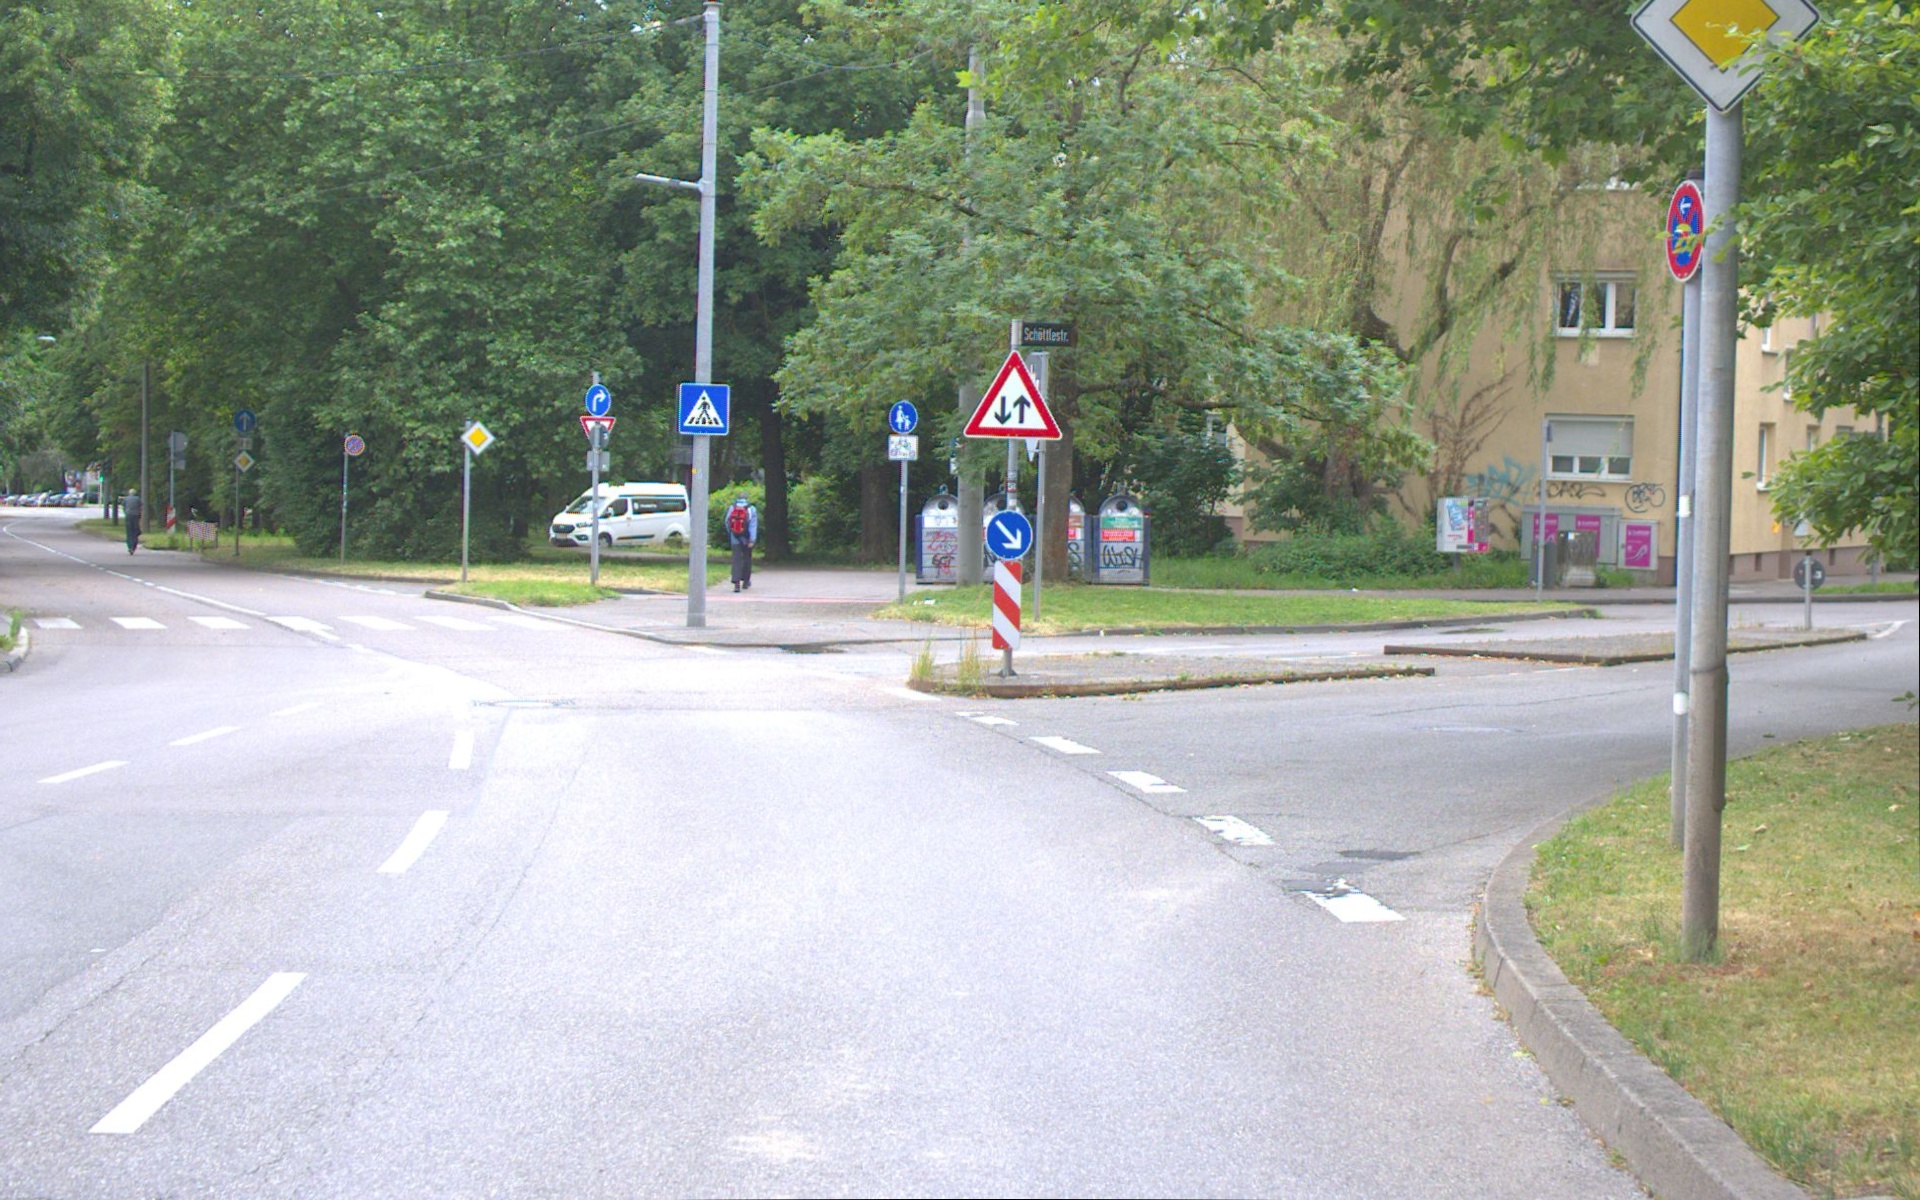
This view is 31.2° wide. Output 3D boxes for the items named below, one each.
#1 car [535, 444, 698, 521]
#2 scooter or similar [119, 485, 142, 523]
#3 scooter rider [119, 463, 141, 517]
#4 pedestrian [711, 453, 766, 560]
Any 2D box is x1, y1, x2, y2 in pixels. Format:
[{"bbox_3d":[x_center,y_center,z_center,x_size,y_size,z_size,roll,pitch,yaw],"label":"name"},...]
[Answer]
[{"bbox_3d":[-11.400,-3.897,114.432,2.136,2.289,5.374,6,4,38],"label":"car"},{"bbox_3d":[-23.768,-2.741,98.514,0.600,1.051,0.873,0,4,-15],"label":"scooter or similar"},{"bbox_3d":[-23.805,-3.160,98.633,0.600,1.547,0.566,0,4,-15],"label":"scooter rider"},{"bbox_3d":[-4.068,-1.722,63.086,0.923,1.865,1.019,-3,5,-4],"label":"pedestrian"}]
